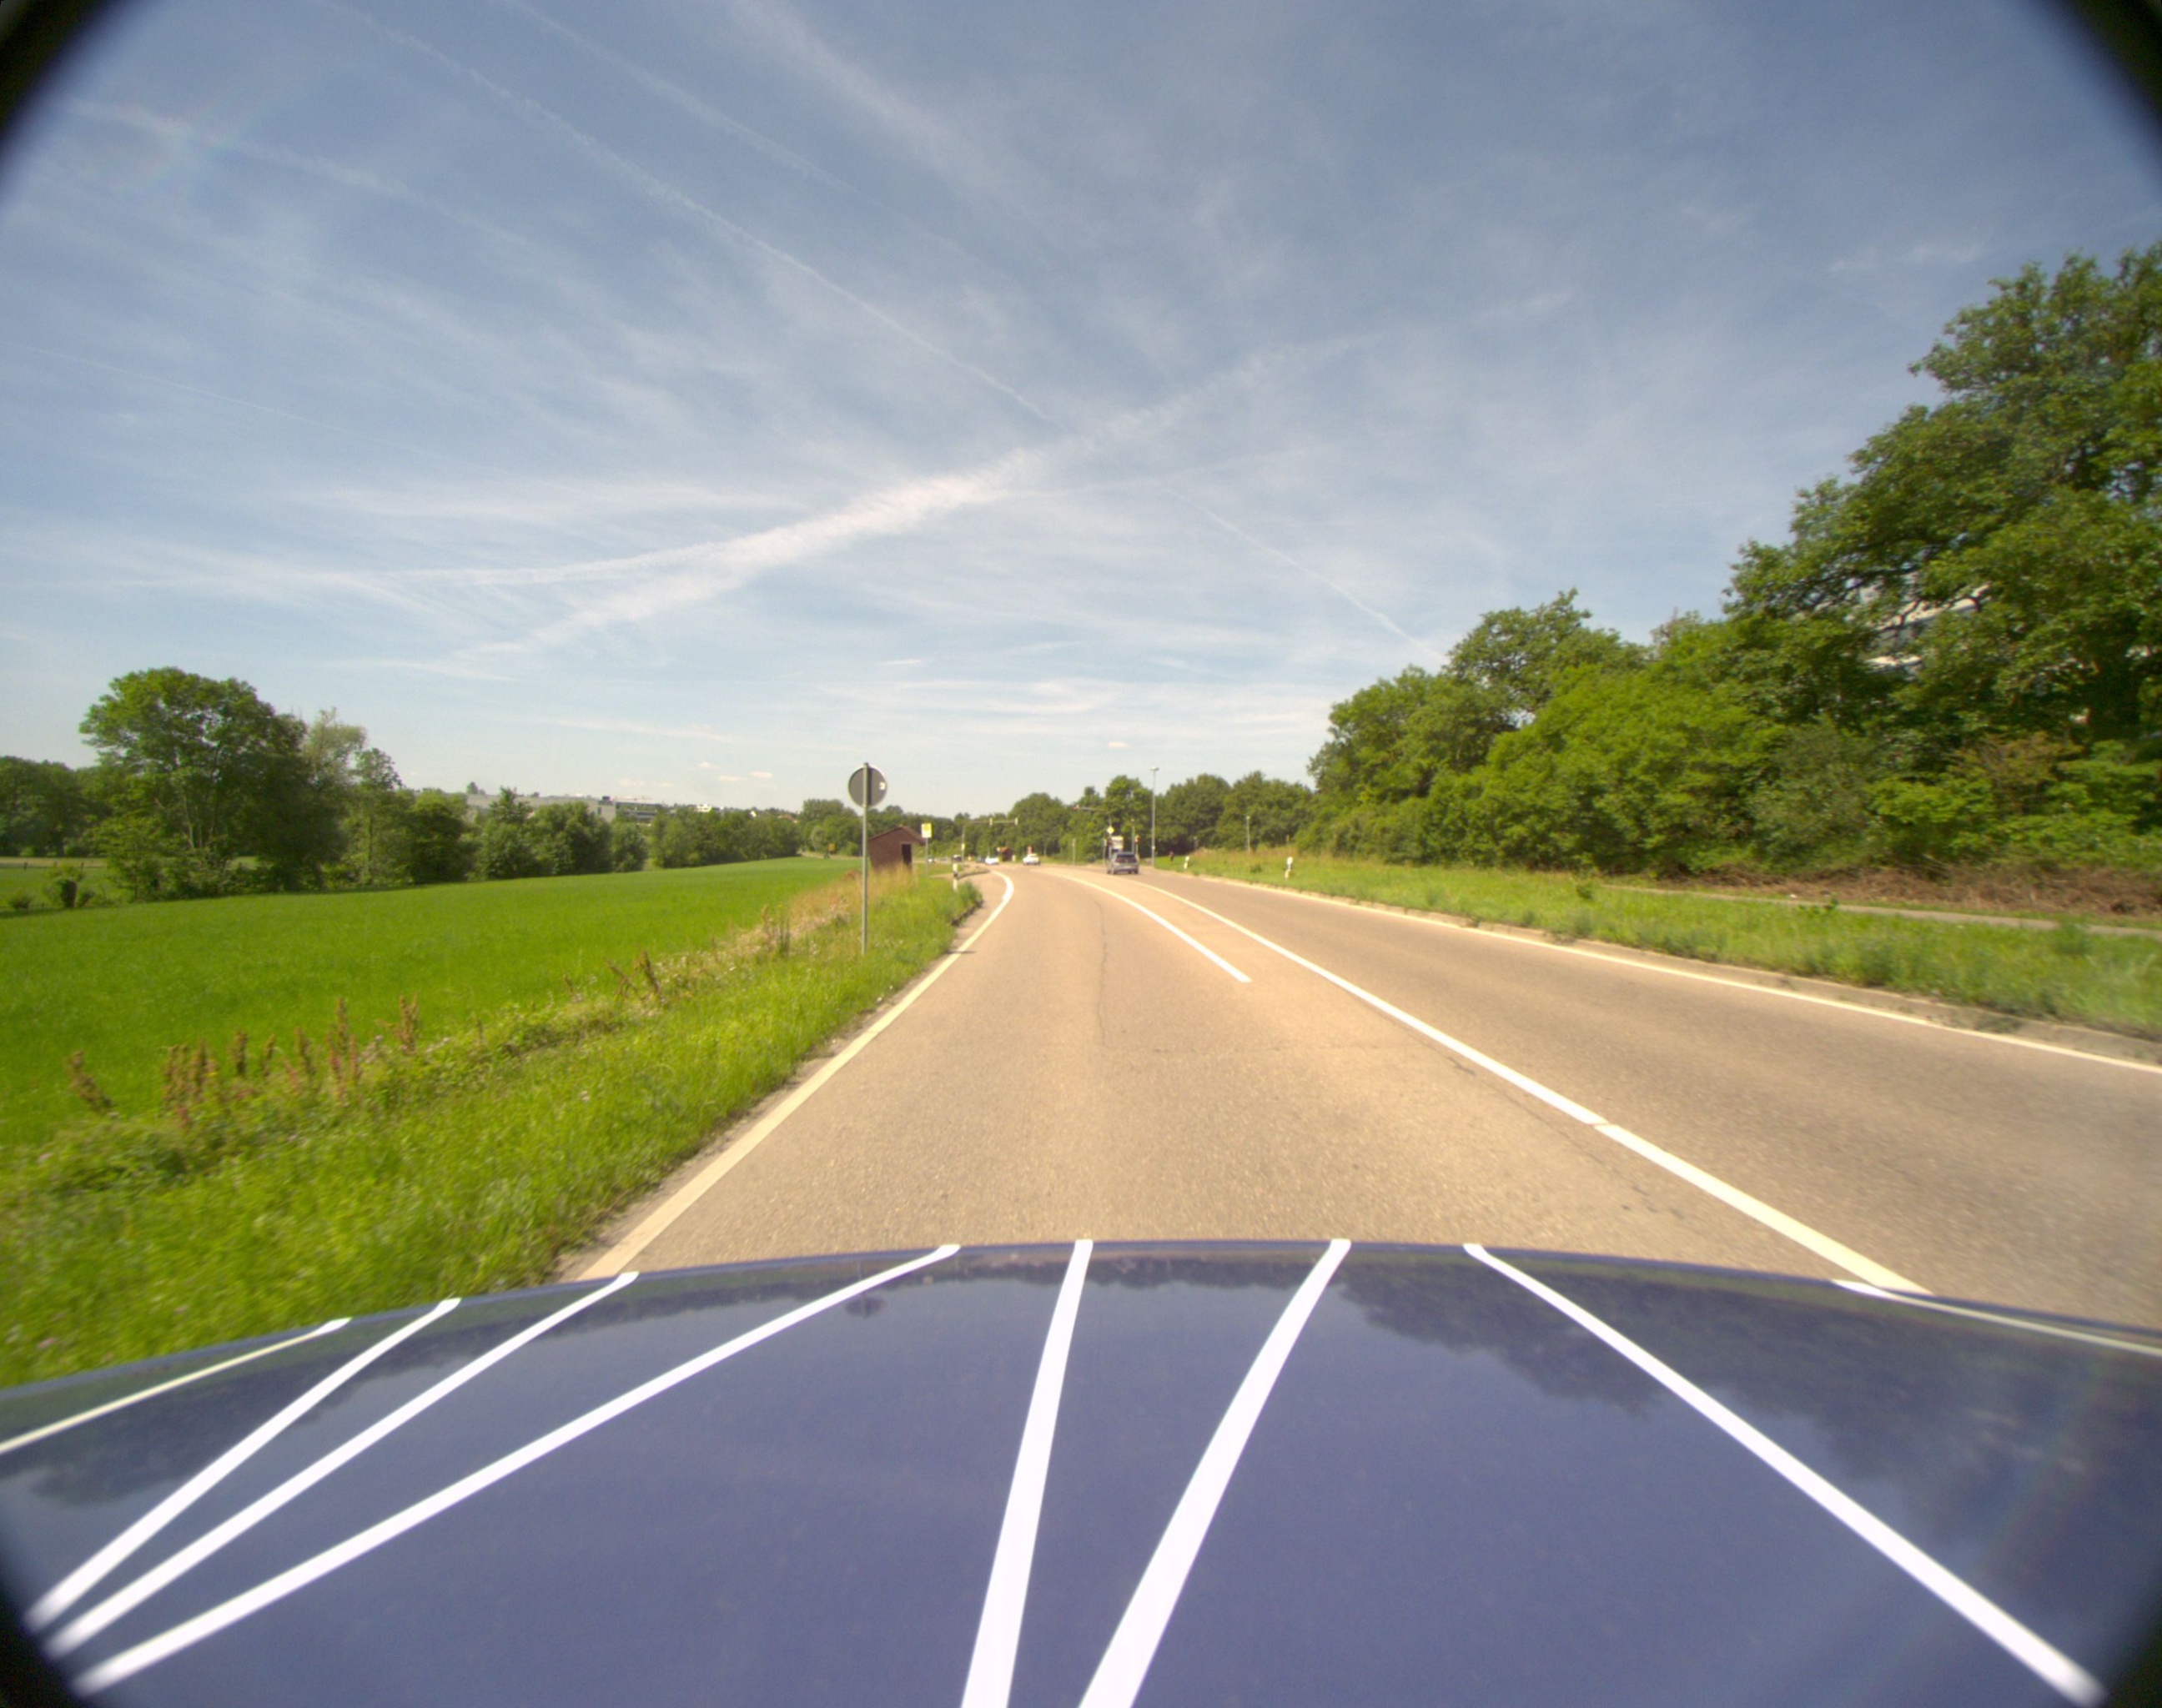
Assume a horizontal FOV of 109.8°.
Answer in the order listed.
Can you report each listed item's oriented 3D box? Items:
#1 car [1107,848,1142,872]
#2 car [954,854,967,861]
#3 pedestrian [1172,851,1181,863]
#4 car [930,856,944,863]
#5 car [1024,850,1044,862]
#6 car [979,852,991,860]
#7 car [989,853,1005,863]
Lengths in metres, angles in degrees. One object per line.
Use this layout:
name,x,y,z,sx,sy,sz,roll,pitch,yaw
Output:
car,3.015,0.402,53.301,1.760,1.526,4.225,-2,1,-6
car,-27.321,0.777,172.086,1.982,1.553,4.182,-2,0,-19
pedestrian,13.499,0.437,107.501,0.920,1.726,0.900,-2,1,24
car,-31.945,1.216,168.629,2.002,1.576,3.992,-2,0,-26
car,-6.829,0.277,109.604,1.944,1.539,4.621,-2,0,-16
car,-19.187,0.447,151.669,1.713,1.474,3.826,-2,0,-18
car,-13.720,0.594,123.681,2.001,1.576,3.995,-2,0,-13
